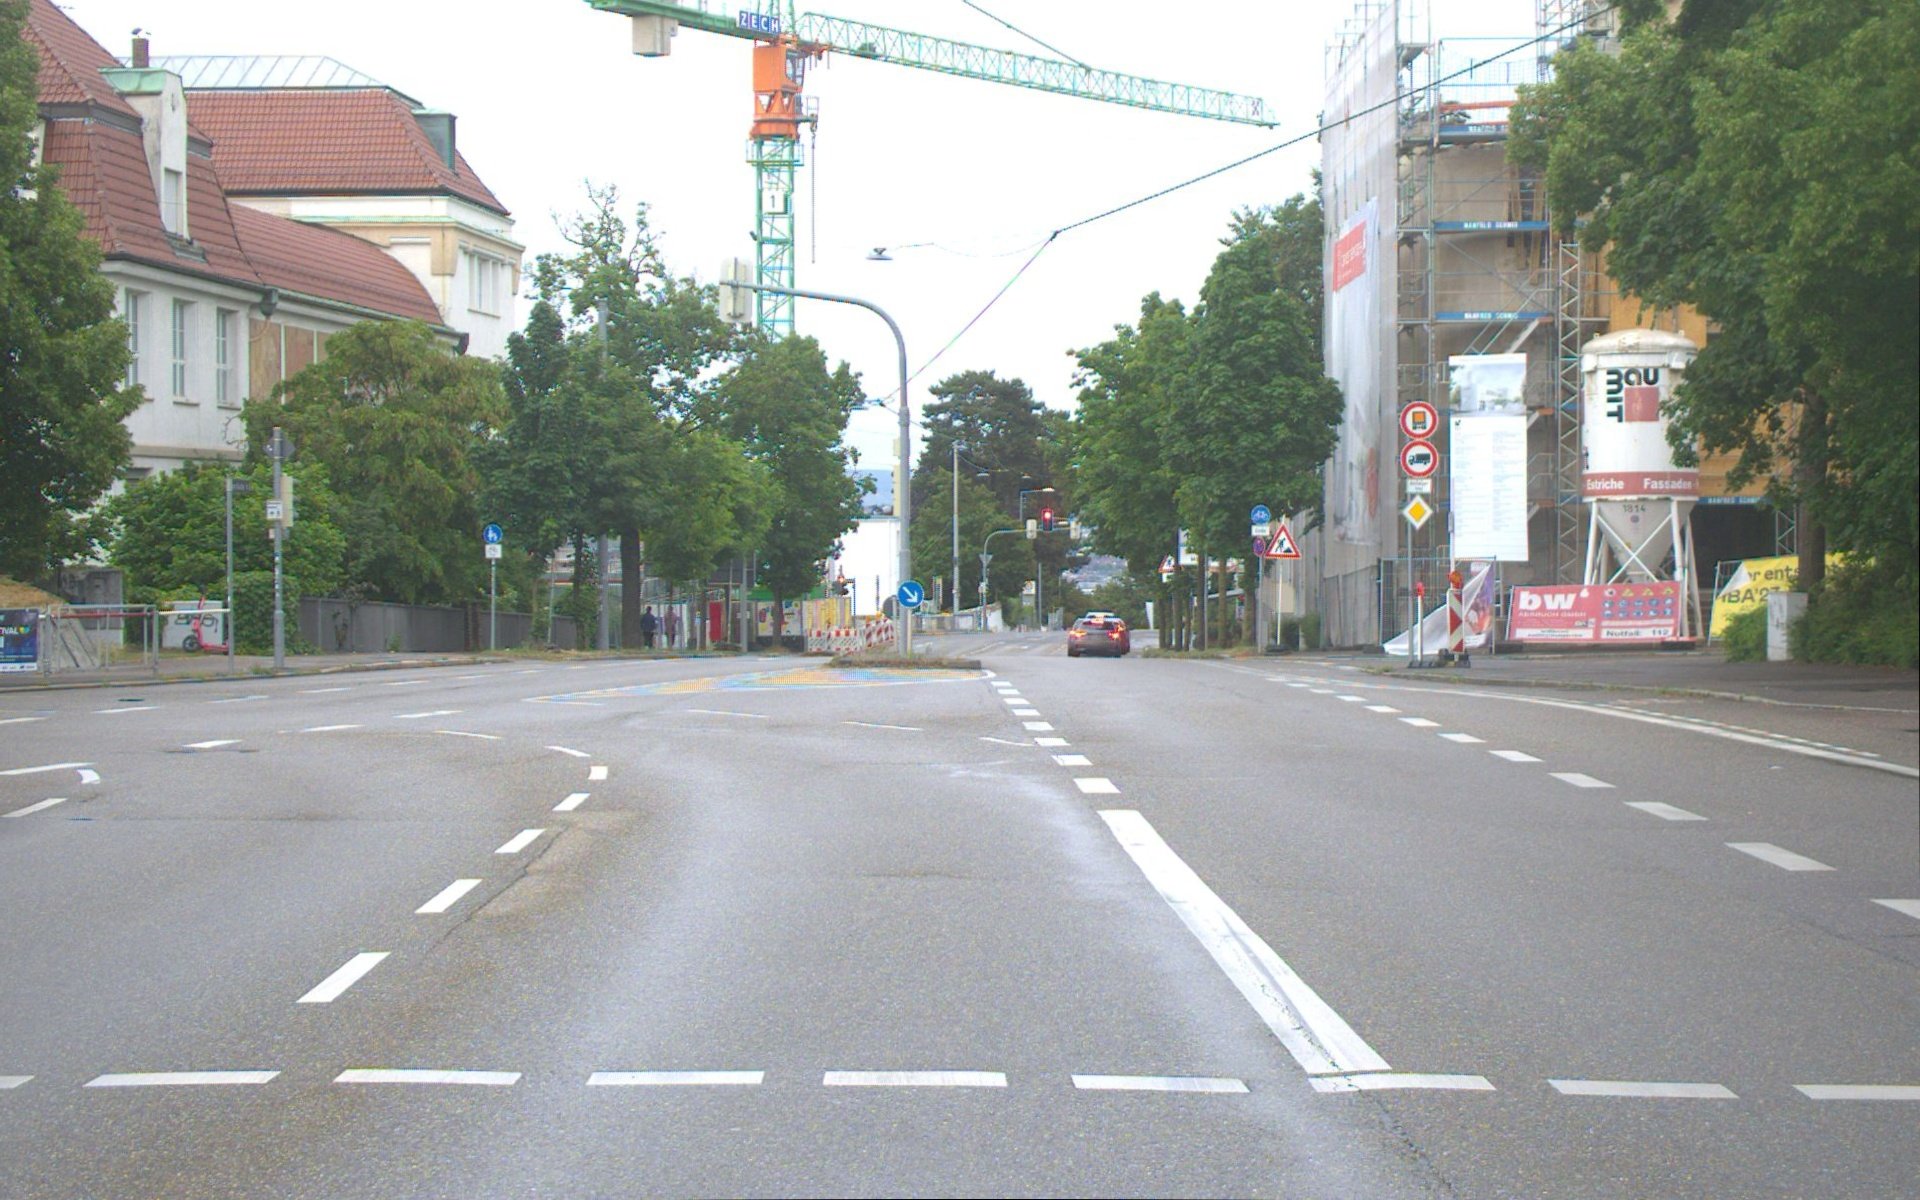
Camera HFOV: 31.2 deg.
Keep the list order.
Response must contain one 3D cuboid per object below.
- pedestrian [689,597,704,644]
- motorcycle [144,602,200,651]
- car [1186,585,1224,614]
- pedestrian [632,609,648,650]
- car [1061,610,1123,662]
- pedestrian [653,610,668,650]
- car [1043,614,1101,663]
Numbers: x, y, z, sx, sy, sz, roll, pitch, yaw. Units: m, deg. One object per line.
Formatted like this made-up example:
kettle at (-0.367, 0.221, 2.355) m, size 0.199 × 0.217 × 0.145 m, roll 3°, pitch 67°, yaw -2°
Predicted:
pedestrian at (-9.287, 0.728, 120.994) m, size 0.493 × 1.640 × 0.534 m, roll 1°, pitch 0°, yaw -6°
motorcycle at (-14.770, 0.494, 64.466) m, size 0.849 × 0.874 × 0.877 m, roll 1°, pitch 0°, yaw -1°
car at (15.633, -0.030, 219.343) m, size 1.994 × 1.744 × 3.998 m, roll -1°, pitch 1°, yaw 11°
pedestrian at (-11.173, 1.023, 119.999) m, size 0.474 × 1.391 × 0.411 m, roll -1°, pitch 1°, yaw -1°
car at (4.763, 1.290, 124.799) m, size 1.993 × 1.744 × 4.000 m, roll -1°, pitch 1°, yaw -1°
pedestrian at (-10.475, 1.036, 120.071) m, size 0.474 × 1.391 × 0.411 m, roll -1°, pitch 1°, yaw -1°
car at (4.242, 1.453, 130.541) m, size 1.993 × 1.744 × 4.000 m, roll -1°, pitch 1°, yaw -1°
